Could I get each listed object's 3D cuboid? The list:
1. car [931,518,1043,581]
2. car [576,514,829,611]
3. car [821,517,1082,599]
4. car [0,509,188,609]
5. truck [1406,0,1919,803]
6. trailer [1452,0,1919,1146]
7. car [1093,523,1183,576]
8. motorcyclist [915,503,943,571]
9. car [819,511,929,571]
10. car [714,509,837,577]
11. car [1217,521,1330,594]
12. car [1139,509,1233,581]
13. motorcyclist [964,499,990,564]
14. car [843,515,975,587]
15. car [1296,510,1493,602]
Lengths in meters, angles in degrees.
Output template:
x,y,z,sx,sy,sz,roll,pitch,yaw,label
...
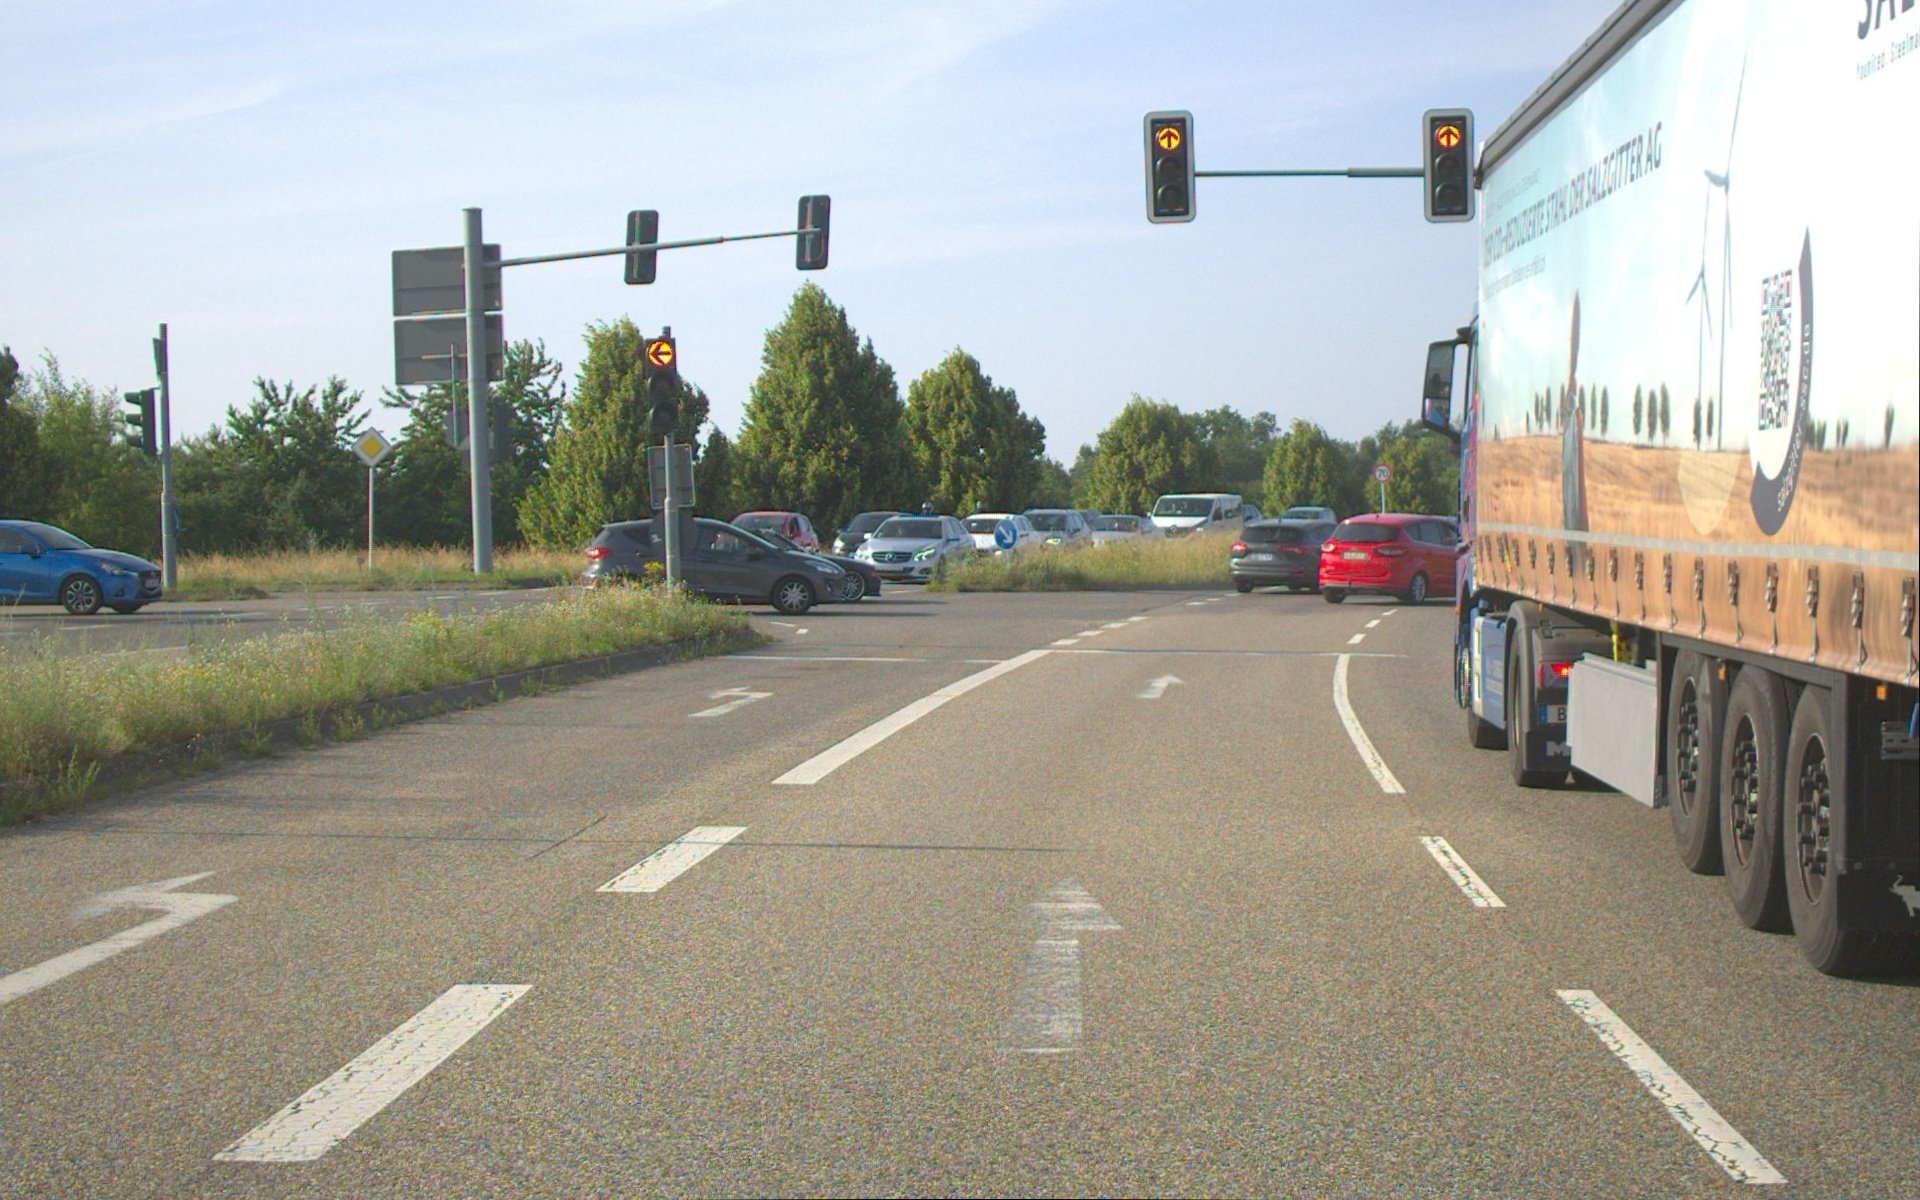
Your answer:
x,y,z,sx,sy,sz,roll,pitch,yaw,label
0.661,-1.200,80.764,1.787,1.428,4.307,0,1,12,car
-3.944,-0.560,52.585,3.782,1.411,1.921,1,0,-5,car
-0.173,-0.706,58.602,4.263,1.318,1.915,1,0,-6,car
-14.075,-0.649,52.725,3.973,1.487,1.778,0,1,9,car
4.788,-1.224,22.437,3.300,4.641,5.732,1,1,4,truck
4.359,-1.101,14.918,3.282,4.665,13.146,1,1,3,trailer
4.813,-1.368,92.586,1.787,1.381,4.049,0,1,12,car
-0.793,-1.630,88.502,0.662,1.741,0.605,0,1,5,motorcyclist
-2.076,-1.454,84.245,1.787,1.428,4.049,0,1,12,car
-4.071,-1.279,76.473,1.721,1.483,3.802,0,1,13,car
6.176,-0.817,67.415,1.837,1.372,4.276,1,0,10,car
6.718,-1.648,101.748,1.927,2.071,4.240,0,1,16,car
0.474,-1.909,95.742,0.662,1.810,0.605,0,1,5,motorcyclist
-1.035,-1.060,72.927,1.787,1.483,4.649,0,1,12,car
7.774,-0.759,61.230,1.898,1.559,4.270,1,0,31,car
